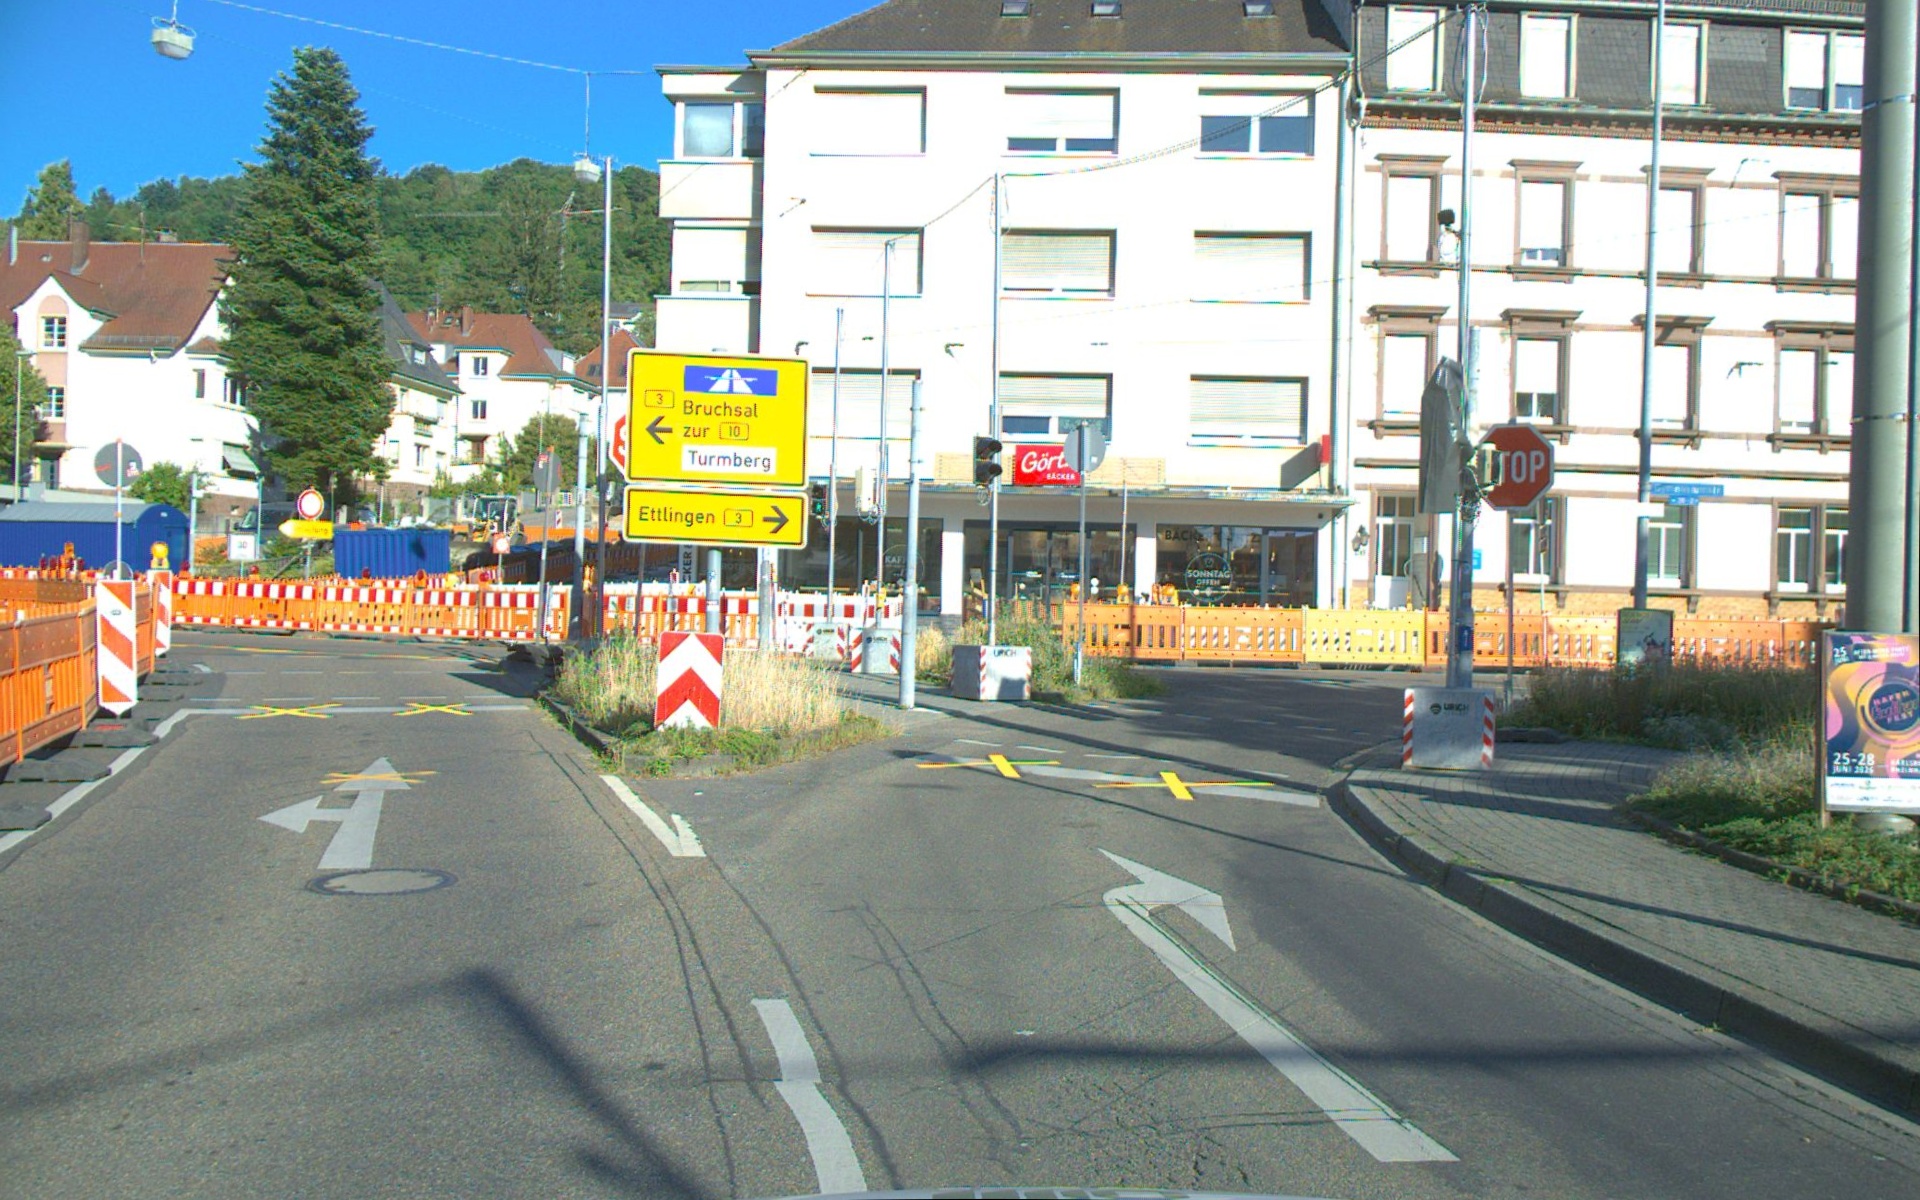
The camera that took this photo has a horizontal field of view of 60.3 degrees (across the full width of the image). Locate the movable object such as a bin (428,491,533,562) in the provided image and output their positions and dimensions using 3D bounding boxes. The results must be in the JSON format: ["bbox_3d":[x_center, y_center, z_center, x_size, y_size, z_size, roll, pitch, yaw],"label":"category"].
[{"bbox_3d":[-18.357,-2.786,63.506,1.907,2.538,4.555,1,0,12],"label":"movable object such as a bin"}]

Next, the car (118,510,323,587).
[{"bbox_3d":[-22.289,-1.504,50.245,2.528,2.158,6.156,1,0,12],"label":"car"}]

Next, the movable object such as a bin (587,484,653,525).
[{"bbox_3d":[-20.383,-5.695,99.352,2.511,2.159,5.787,1,0,3],"label":"movable object such as a bin"}]
